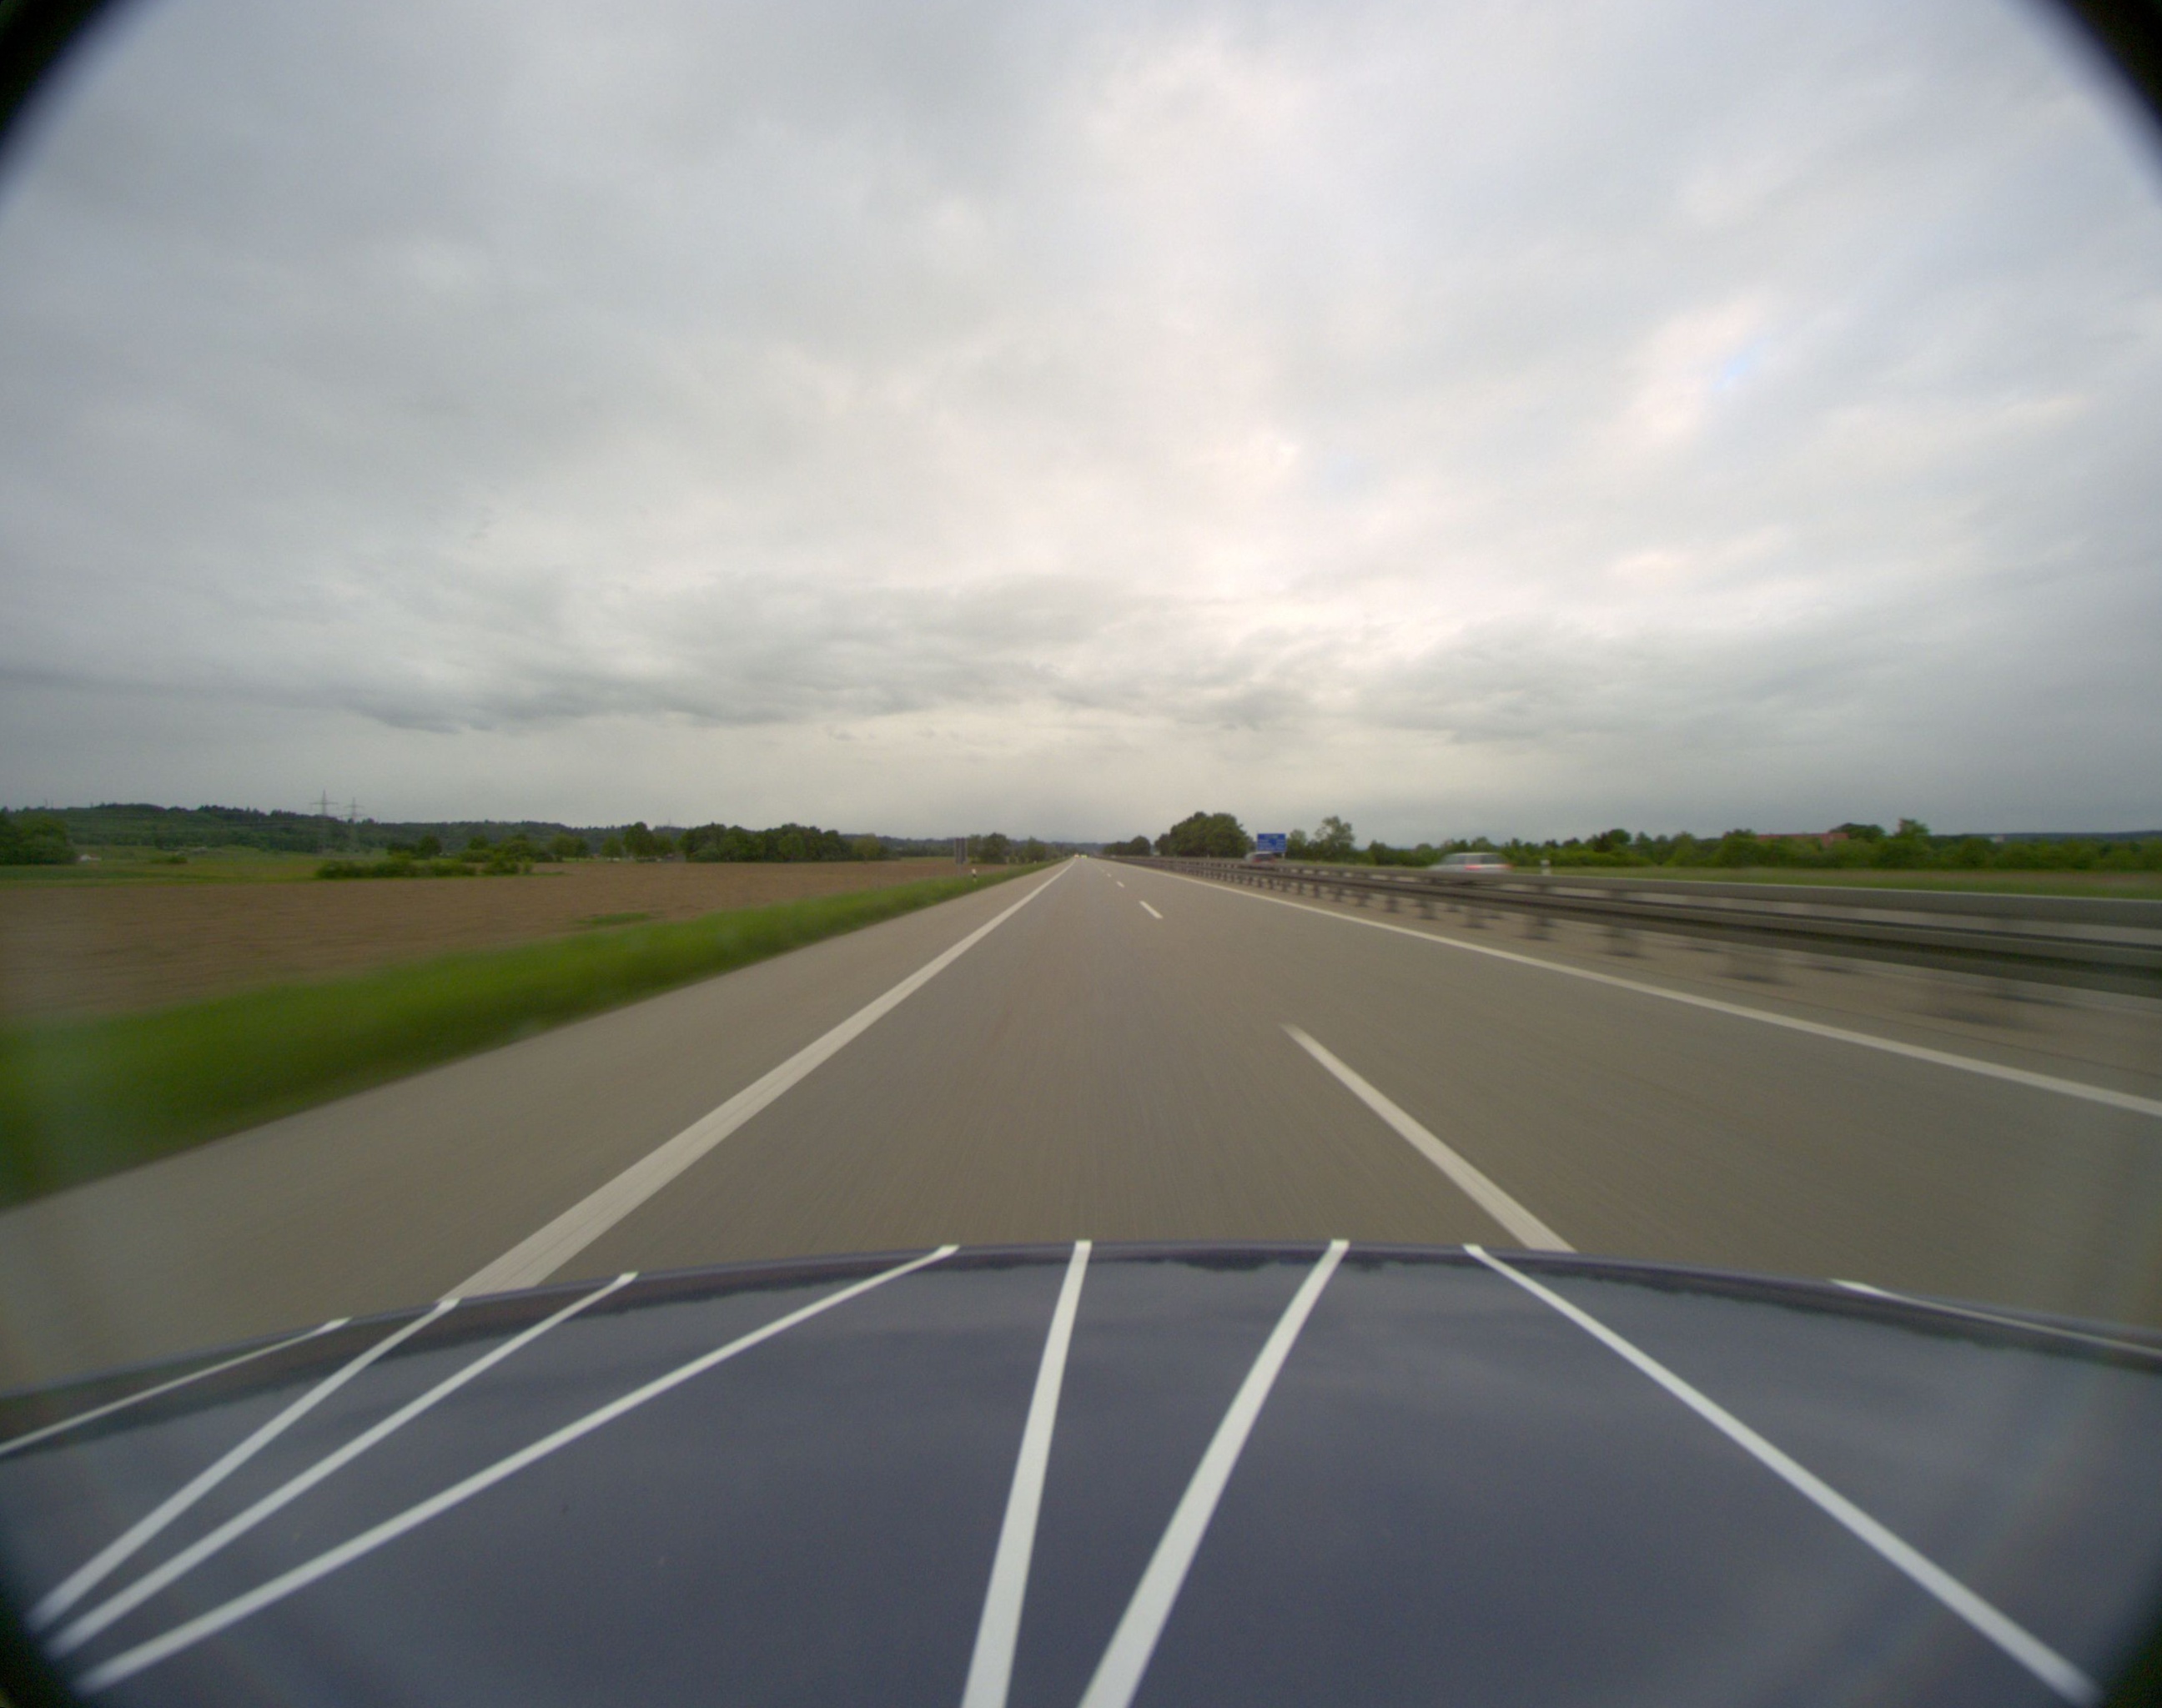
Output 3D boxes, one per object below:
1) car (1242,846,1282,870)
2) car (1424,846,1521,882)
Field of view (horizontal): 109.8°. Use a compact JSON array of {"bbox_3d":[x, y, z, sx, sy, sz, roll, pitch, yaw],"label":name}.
[{"bbox_3d":[13.461,0.258,56.750,1.998,1.691,4.301,-2,1,1],"label":"car"},{"bbox_3d":[17.920,0.403,35.080,1.999,1.487,4.762,-1,1,0],"label":"car"}]
